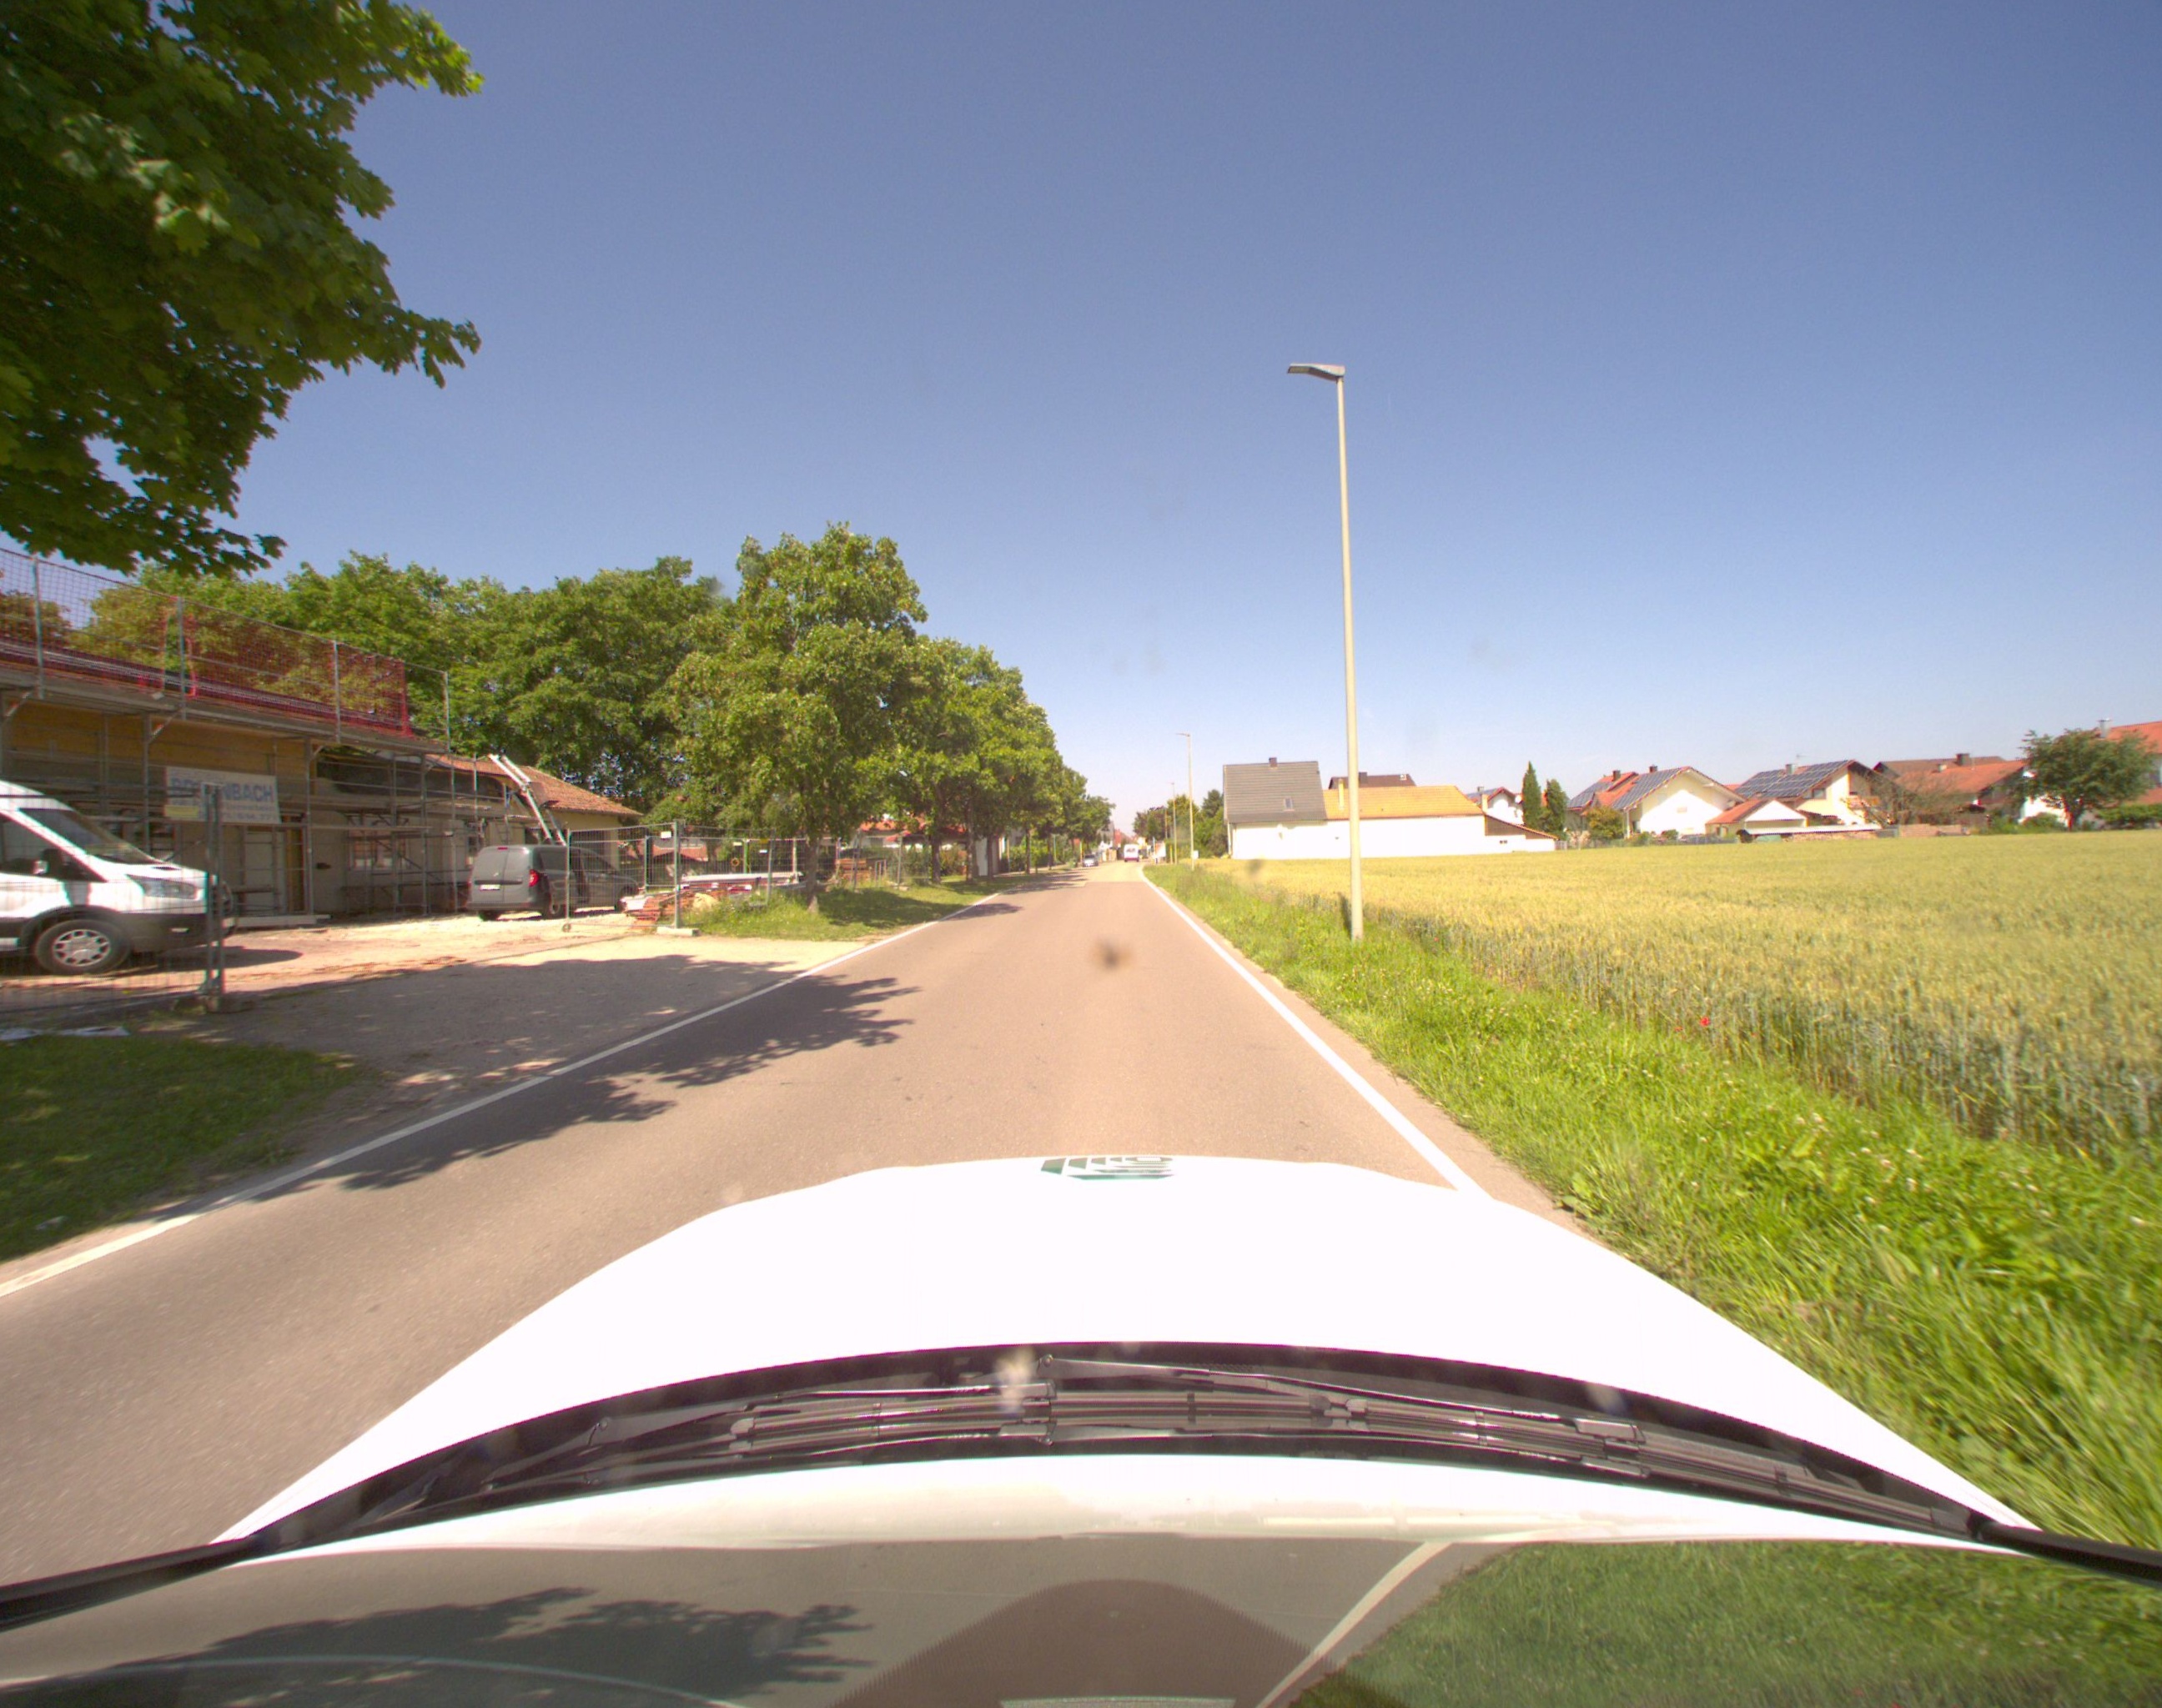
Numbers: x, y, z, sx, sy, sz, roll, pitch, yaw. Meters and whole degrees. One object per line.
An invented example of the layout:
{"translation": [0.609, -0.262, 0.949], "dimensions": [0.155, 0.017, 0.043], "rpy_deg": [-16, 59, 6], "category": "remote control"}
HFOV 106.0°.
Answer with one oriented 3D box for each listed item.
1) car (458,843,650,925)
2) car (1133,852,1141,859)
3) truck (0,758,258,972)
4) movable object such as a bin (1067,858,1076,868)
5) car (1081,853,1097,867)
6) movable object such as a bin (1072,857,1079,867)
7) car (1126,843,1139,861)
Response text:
{"translation": [-13.320, 0.684, 20.960], "dimensions": [1.963, 1.838, 4.330], "rpy_deg": [-1, 0, 2], "category": "car"}
{"translation": [13.069, 0.270, 189.722], "dimensions": [1.660, 1.524, 3.443], "rpy_deg": [-3, 0, 1], "category": "car"}
{"translation": [-14.120, 0.177, 9.563], "dimensions": [5.956, 2.483, 1.978], "rpy_deg": [-1, -1, -35], "category": "truck"}
{"translation": [-1.000, 0.958, 88.699], "dimensions": [0.706, 1.079, 0.644], "rpy_deg": [-3, -1, 29], "category": "movable object such as a bin"}
{"translation": [0.932, 0.712, 94.089], "dimensions": [1.640, 1.423, 4.083], "rpy_deg": [-4, 0, 3], "category": "car"}
{"translation": [-0.606, 0.919, 89.394], "dimensions": [0.570, 1.079, 0.601], "rpy_deg": [-2, -1, 17], "category": "movable object such as a bin"}
{"translation": [7.458, -0.300, 117.539], "dimensions": [1.730, 2.432, 4.380], "rpy_deg": [-3, 0, 5], "category": "car"}
